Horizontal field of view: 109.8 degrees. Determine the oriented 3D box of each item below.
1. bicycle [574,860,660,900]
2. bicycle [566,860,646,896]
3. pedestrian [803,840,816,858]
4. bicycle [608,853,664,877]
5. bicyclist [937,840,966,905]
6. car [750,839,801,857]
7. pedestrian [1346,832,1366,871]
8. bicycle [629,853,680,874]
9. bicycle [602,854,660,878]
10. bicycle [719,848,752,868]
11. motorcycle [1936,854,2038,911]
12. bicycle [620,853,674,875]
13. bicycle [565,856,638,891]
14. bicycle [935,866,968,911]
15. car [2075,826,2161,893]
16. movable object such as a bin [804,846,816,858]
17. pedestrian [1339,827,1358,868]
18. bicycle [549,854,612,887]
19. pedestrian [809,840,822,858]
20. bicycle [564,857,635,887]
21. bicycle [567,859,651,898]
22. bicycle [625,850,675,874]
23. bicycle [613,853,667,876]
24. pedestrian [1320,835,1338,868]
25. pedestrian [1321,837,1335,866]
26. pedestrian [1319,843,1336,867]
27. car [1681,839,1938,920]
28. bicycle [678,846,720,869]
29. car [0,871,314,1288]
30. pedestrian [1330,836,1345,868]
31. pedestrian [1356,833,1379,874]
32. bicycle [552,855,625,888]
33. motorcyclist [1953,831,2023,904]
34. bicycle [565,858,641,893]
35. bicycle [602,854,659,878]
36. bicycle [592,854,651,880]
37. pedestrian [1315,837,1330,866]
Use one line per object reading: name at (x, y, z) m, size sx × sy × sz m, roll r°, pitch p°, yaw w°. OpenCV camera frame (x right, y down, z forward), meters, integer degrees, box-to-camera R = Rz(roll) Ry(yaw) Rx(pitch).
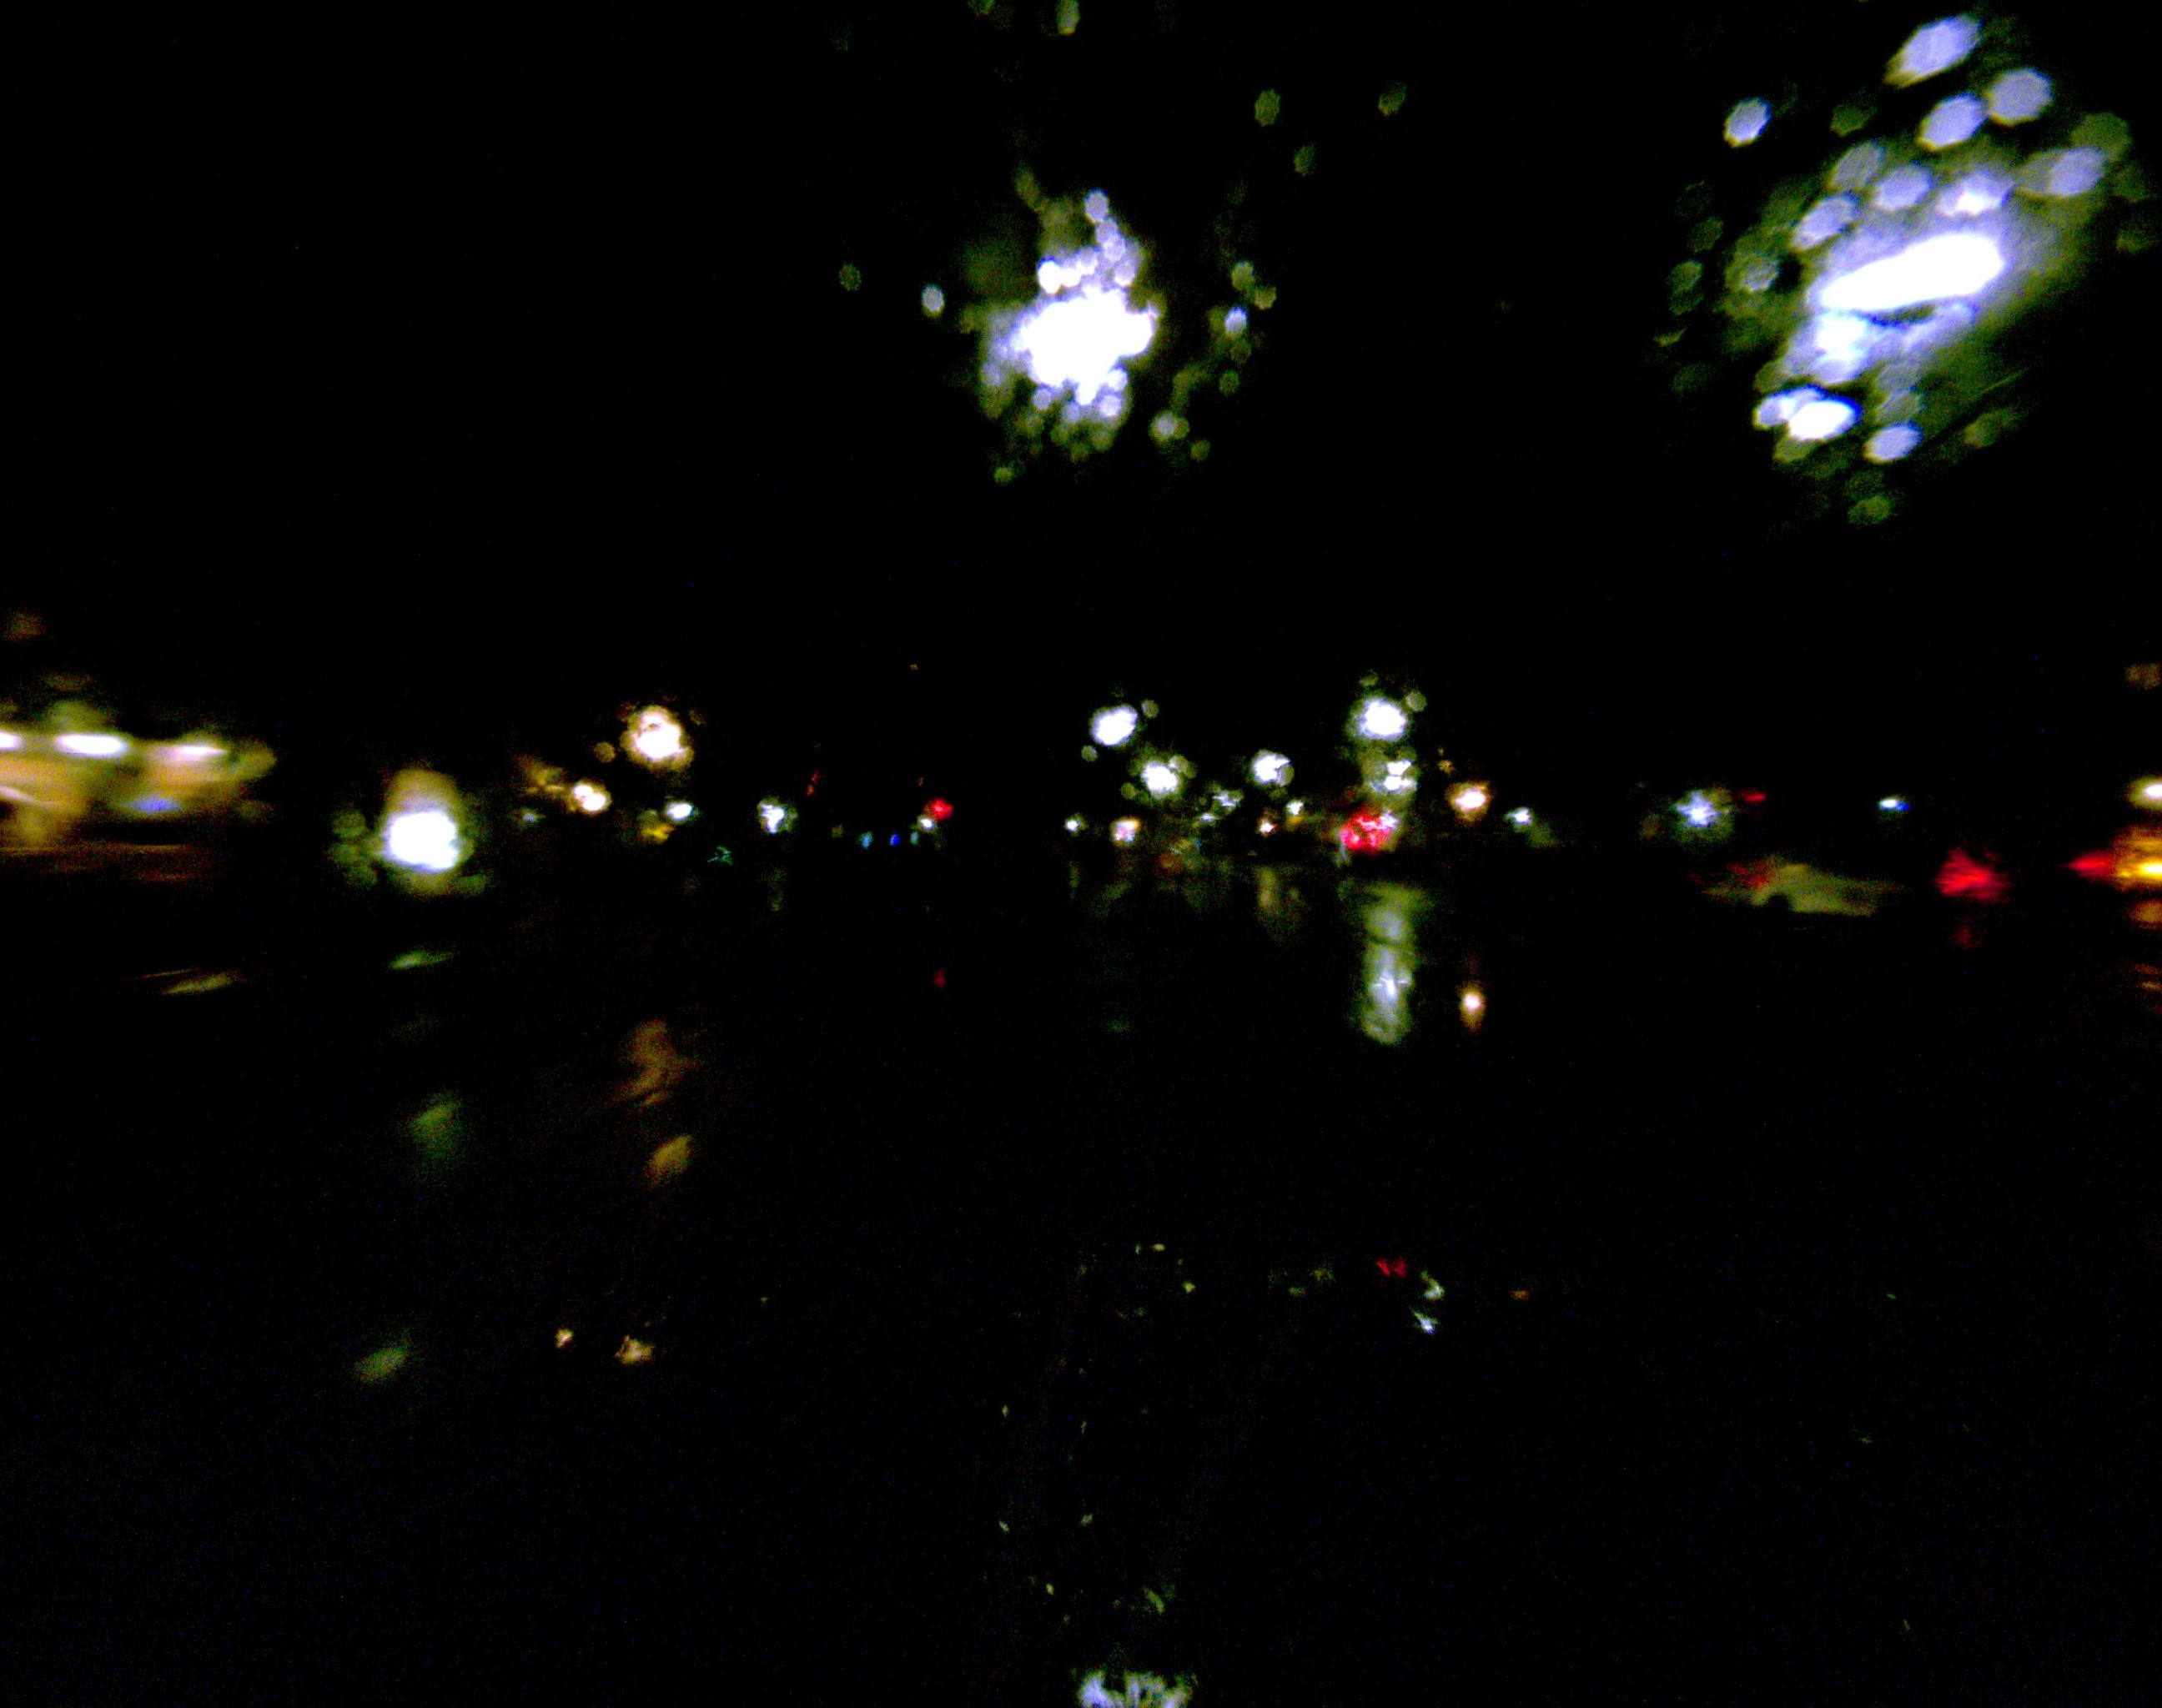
bicycle at (-12.836, 0.704, 21.067) m, size 1.978 × 1.001 × 0.640 m, roll -1°, pitch 2°, yaw -36°
bicycle at (-14.144, 0.689, 22.641) m, size 1.978 × 1.001 × 0.640 m, roll -1°, pitch 2°, yaw -36°
pedestrian at (-24.850, -0.444, 69.574) m, size 0.872 × 1.629 × 0.635 m, roll -1°, pitch 3°, yaw 32°
bicycle at (-19.443, 0.482, 33.221) m, size 1.975 × 1.001 × 0.641 m, roll 0°, pitch 2°, yaw -8°
bicyclist at (-3.182, 0.446, 18.730) m, size 0.572 × 1.539 × 0.815 m, roll -2°, pitch 2°, yaw -4°
car at (-27.849, -0.556, 69.307) m, size 4.484 × 1.585 × 1.892 m, roll 0°, pitch 3°, yaw 29°
pedestrian at (12.910, -0.118, 35.725) m, size 0.716 × 1.764 × 0.671 m, roll -2°, pitch 2°, yaw 10°
bicycle at (-19.915, 0.442, 35.488) m, size 1.932 × 0.982 × 0.729 m, roll 0°, pitch 2°, yaw -8°
bicycle at (-18.930, 0.507, 31.986) m, size 1.975 × 1.001 × 0.641 m, roll 0°, pitch 2°, yaw -8°
bicycle at (-20.316, 0.226, 44.709) m, size 1.625 × 1.076 × 0.564 m, roll -1°, pitch 4°, yaw -9°
motorcycle at (21.601, 0.657, 18.121) m, size 2.252 × 1.206 × 0.790 m, roll -2°, pitch 3°, yaw -19°
bicycle at (-19.770, 0.460, 34.641) m, size 1.975 × 1.001 × 0.687 m, roll 0°, pitch 2°, yaw -8°
bicycle at (-15.737, 0.620, 24.969) m, size 1.978 × 1.059 × 0.640 m, roll -1°, pitch 2°, yaw -36°
bicycle at (-3.171, 0.815, 18.708) m, size 0.572 × 0.964 × 1.779 m, roll -2°, pitch 2°, yaw -4°
car at (30.744, 0.092, 21.869) m, size 3.803 × 1.730 × 1.750 m, roll -2°, pitch 3°, yaw -25°
movable object such as a bin at (-25.175, -0.204, 70.577) m, size 0.920 × 1.109 × 0.635 m, roll -1°, pitch 3°, yaw 32°
pedestrian at (13.128, -0.330, 37.282) m, size 0.609 × 1.976 × 0.859 m, roll -2°, pitch 2°, yaw 4°
bicycle at (-17.748, 0.573, 26.978) m, size 1.828 × 1.081 × 0.719 m, roll -1°, pitch 2°, yaw -36°
pedestrian at (-24.481, -0.473, 70.133) m, size 0.841 × 1.629 × 0.635 m, roll -1°, pitch 3°, yaw 32°
bicycle at (-16.562, 0.618, 26.165) m, size 1.975 × 1.001 × 0.641 m, roll 0°, pitch 2°, yaw -8°
bicycle at (-13.442, 0.678, 21.663) m, size 1.978 × 1.029 × 0.640 m, roll -1°, pitch 2°, yaw -36°
bicycle at (-20.379, 0.377, 35.963) m, size 1.932 × 1.109 × 0.729 m, roll 0°, pitch 2°, yaw -8°
bicycle at (-19.668, 0.480, 33.933) m, size 1.975 × 1.001 × 0.641 m, roll 0°, pitch 2°, yaw -8°
pedestrian at (12.864, -0.122, 39.409) m, size 0.586 × 1.643 × 0.558 m, roll -4°, pitch 3°, yaw -36°
pedestrian at (13.379, -0.127, 41.169) m, size 0.480 × 1.520 × 0.586 m, roll -3°, pitch 2°, yaw -10°
pedestrian at (13.039, 0.050, 40.181) m, size 0.586 × 1.247 × 0.623 m, roll -4°, pitch 3°, yaw -36°
car at (14.995, 0.481, 15.793) m, size 3.596 × 1.507 × 1.924 m, roll -1°, pitch 2°, yaw -4°
bicycle at (-20.557, 0.204, 40.912) m, size 1.875 × 1.210 × 0.729 m, roll 0°, pitch 2°, yaw -8°
car at (-5.170, 0.944, 2.412) m, size 1.651 × 1.516 × 3.581 m, roll 4°, pitch 2°, yaw 5°
pedestrian at (13.110, -0.096, 38.785) m, size 0.400 × 1.620 × 0.531 m, roll -4°, pitch 3°, yaw -36°
pedestrian at (12.634, -0.028, 33.525) m, size 0.670 × 1.764 × 0.717 m, roll -3°, pitch 2°, yaw -3°
bicycle at (-16.966, 0.582, 26.207) m, size 0.640 × 1.047 × 1.979 m, roll 2°, pitch 2°, yaw 39°
motorcyclist at (21.588, 0.302, 18.092) m, size 0.821 × 1.686 × 0.790 m, roll -2°, pitch 3°, yaw -19°
bicycle at (-14.973, 0.656, 23.839) m, size 1.978 × 1.001 × 0.640 m, roll -1°, pitch 2°, yaw -36°
bicycle at (-19.308, 0.494, 32.583) m, size 1.975 × 1.001 × 0.641 m, roll 0°, pitch 2°, yaw -8°
bicycle at (-18.882, 0.518, 31.240) m, size 1.975 × 1.028 × 0.641 m, roll 0°, pitch 2°, yaw -8°
pedestrian at (13.258, -0.135, 41.764) m, size 0.512 × 1.539 × 0.574 m, roll -3°, pitch 2°, yaw -11°
